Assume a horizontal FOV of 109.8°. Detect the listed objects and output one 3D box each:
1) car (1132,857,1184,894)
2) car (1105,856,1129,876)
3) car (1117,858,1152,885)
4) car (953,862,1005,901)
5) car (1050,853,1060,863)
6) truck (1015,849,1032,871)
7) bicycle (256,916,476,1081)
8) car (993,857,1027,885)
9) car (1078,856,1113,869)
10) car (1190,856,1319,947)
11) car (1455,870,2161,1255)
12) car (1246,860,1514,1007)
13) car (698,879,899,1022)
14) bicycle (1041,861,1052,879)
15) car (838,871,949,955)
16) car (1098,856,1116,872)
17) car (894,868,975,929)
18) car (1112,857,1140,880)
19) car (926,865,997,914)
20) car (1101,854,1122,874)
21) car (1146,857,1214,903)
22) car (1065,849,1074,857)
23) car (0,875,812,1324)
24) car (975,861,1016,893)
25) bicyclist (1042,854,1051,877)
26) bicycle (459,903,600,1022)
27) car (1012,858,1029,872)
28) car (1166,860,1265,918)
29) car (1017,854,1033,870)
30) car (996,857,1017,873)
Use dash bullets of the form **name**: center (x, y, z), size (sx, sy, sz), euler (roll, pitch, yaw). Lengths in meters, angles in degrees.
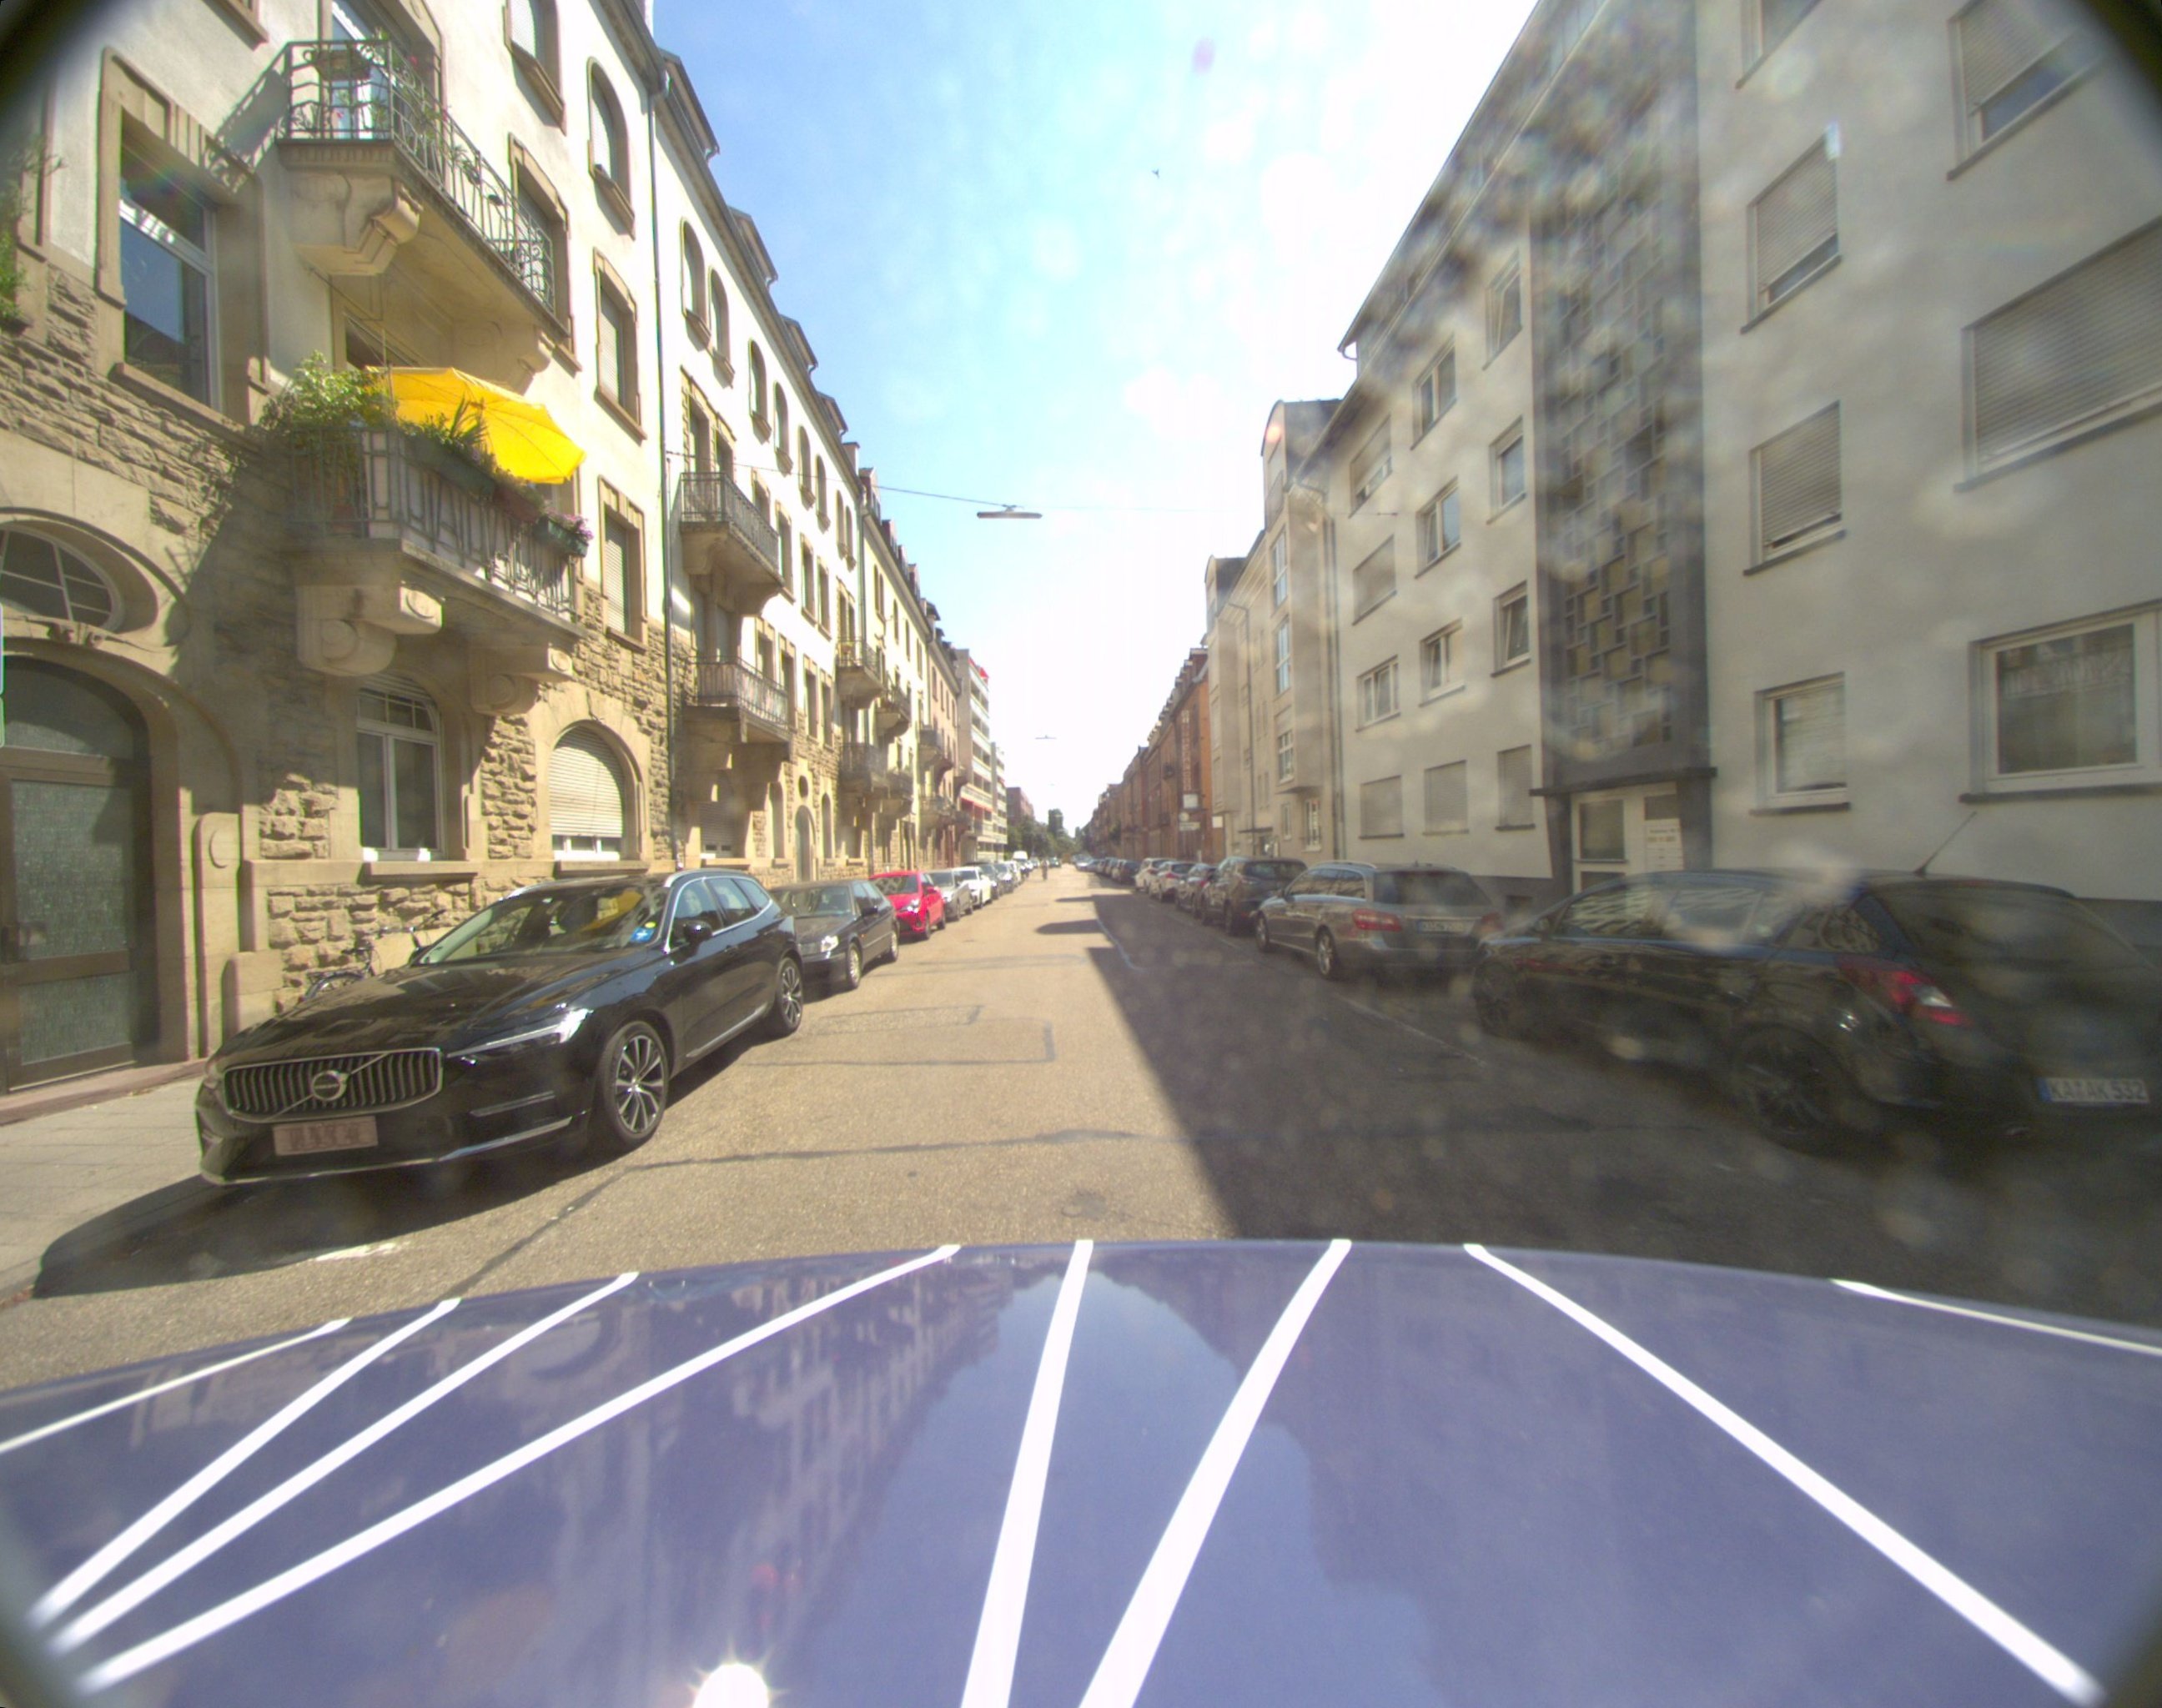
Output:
- **car**: center (3.500, 0.938, 35.132), size (1.633, 1.540, 3.851), euler (2, 0, -5)
- **car**: center (2.839, 0.915, 60.344), size (1.450, 1.464, 3.524), euler (2, 0, -4)
- **car**: center (3.168, 1.016, 45.904), size (1.782, 1.421, 3.836), euler (2, 0, 0)
- **car**: center (-4.355, 1.157, 33.130), size (1.741, 1.449, 4.667), euler (-1, 1, -2)
- **car**: center (-4.183, 0.652, 121.476), size (1.625, 1.600, 3.596), euler (-1, 1, -2)
- **truck**: center (-7.305, 0.721, 96.213), size (1.869, 2.715, 4.506), euler (-1, 1, -2)
- **bicycle**: center (-6.622, 1.268, 7.176), size (0.385, 1.201, 1.775), euler (-1, 1, -1)
- **car**: center (-4.579, 1.077, 49.771), size (1.652, 1.613, 4.092), euler (-1, 1, 2)
- **car**: center (1.670, 0.966, 87.921), size (3.997, 1.422, 1.677), euler (-1, 1, -1)
- **car**: center (3.495, 0.889, 16.028), size (1.608, 1.634, 3.975), euler (0, 0, -3)
- **car**: center (4.338, 0.905, 5.108), size (1.571, 1.483, 3.892), euler (0, 0, -3)
- **car**: center (3.745, 0.883, 10.542), size (1.661, 1.510, 4.669), euler (0, 0, -3)
- **car**: center (-3.717, 1.178, 10.729), size (1.516, 1.390, 3.971), euler (-4, 1, -4)
- **bicycle**: center (-2.487, 1.142, 54.977), size (0.671, 1.169, 2.094), euler (-1, 1, -1)
- **car**: center (-4.057, 1.215, 17.002), size (1.575, 1.444, 3.841), euler (-4, 1, -2)
- **car**: center (2.388, 0.926, 71.468), size (1.450, 1.391, 3.525), euler (2, 0, -1)
- **car**: center (-4.187, 1.230, 22.230), size (1.594, 1.444, 3.855), euler (-4, 1, -1)
- **car**: center (2.990, 0.938, 51.130), size (1.633, 1.421, 3.677), euler (2, 0, 0)
- **car**: center (-4.227, 1.212, 27.591), size (1.721, 1.444, 4.596), euler (-4, 1, 0)
- **car**: center (2.623, 0.831, 66.537), size (1.450, 1.633, 3.524), euler (2, 0, -3)
- **car**: center (3.572, 0.887, 28.111), size (1.735, 1.486, 4.347), euler (1, 0, -3)
- **car**: center (-2.803, -0.264, 185.315), size (1.785, 2.002, 4.000), euler (-2, 1, 1)
- **car**: center (-3.586, 1.060, 5.430), size (1.838, 1.558, 4.603), euler (-4, 1, -4)
- **car**: center (-4.329, 1.126, 39.093), size (1.828, 1.423, 4.488), euler (-2, 0, -4)
- **bicyclist**: center (-2.495, 0.802, 55.098), size (0.645, 1.640, 0.622), euler (-1, 1, -1)
- **bicycle**: center (-6.754, 1.279, 9.420), size (0.442, 1.201, 1.775), euler (-1, 1, -1)
- **car**: center (-7.098, 1.274, 89.855), size (1.718, 1.543, 3.999), euler (-1, 1, -2)
- **car**: center (3.596, 0.899, 21.132), size (1.770, 1.385, 4.347), euler (0, 0, -3)
- **car**: center (-7.539, 1.050, 101.905), size (1.903, 2.002, 3.999), euler (-1, 1, -2)
- **car**: center (-7.247, 1.074, 74.625), size (1.754, 1.484, 3.902), euler (-1, 1, -2)
